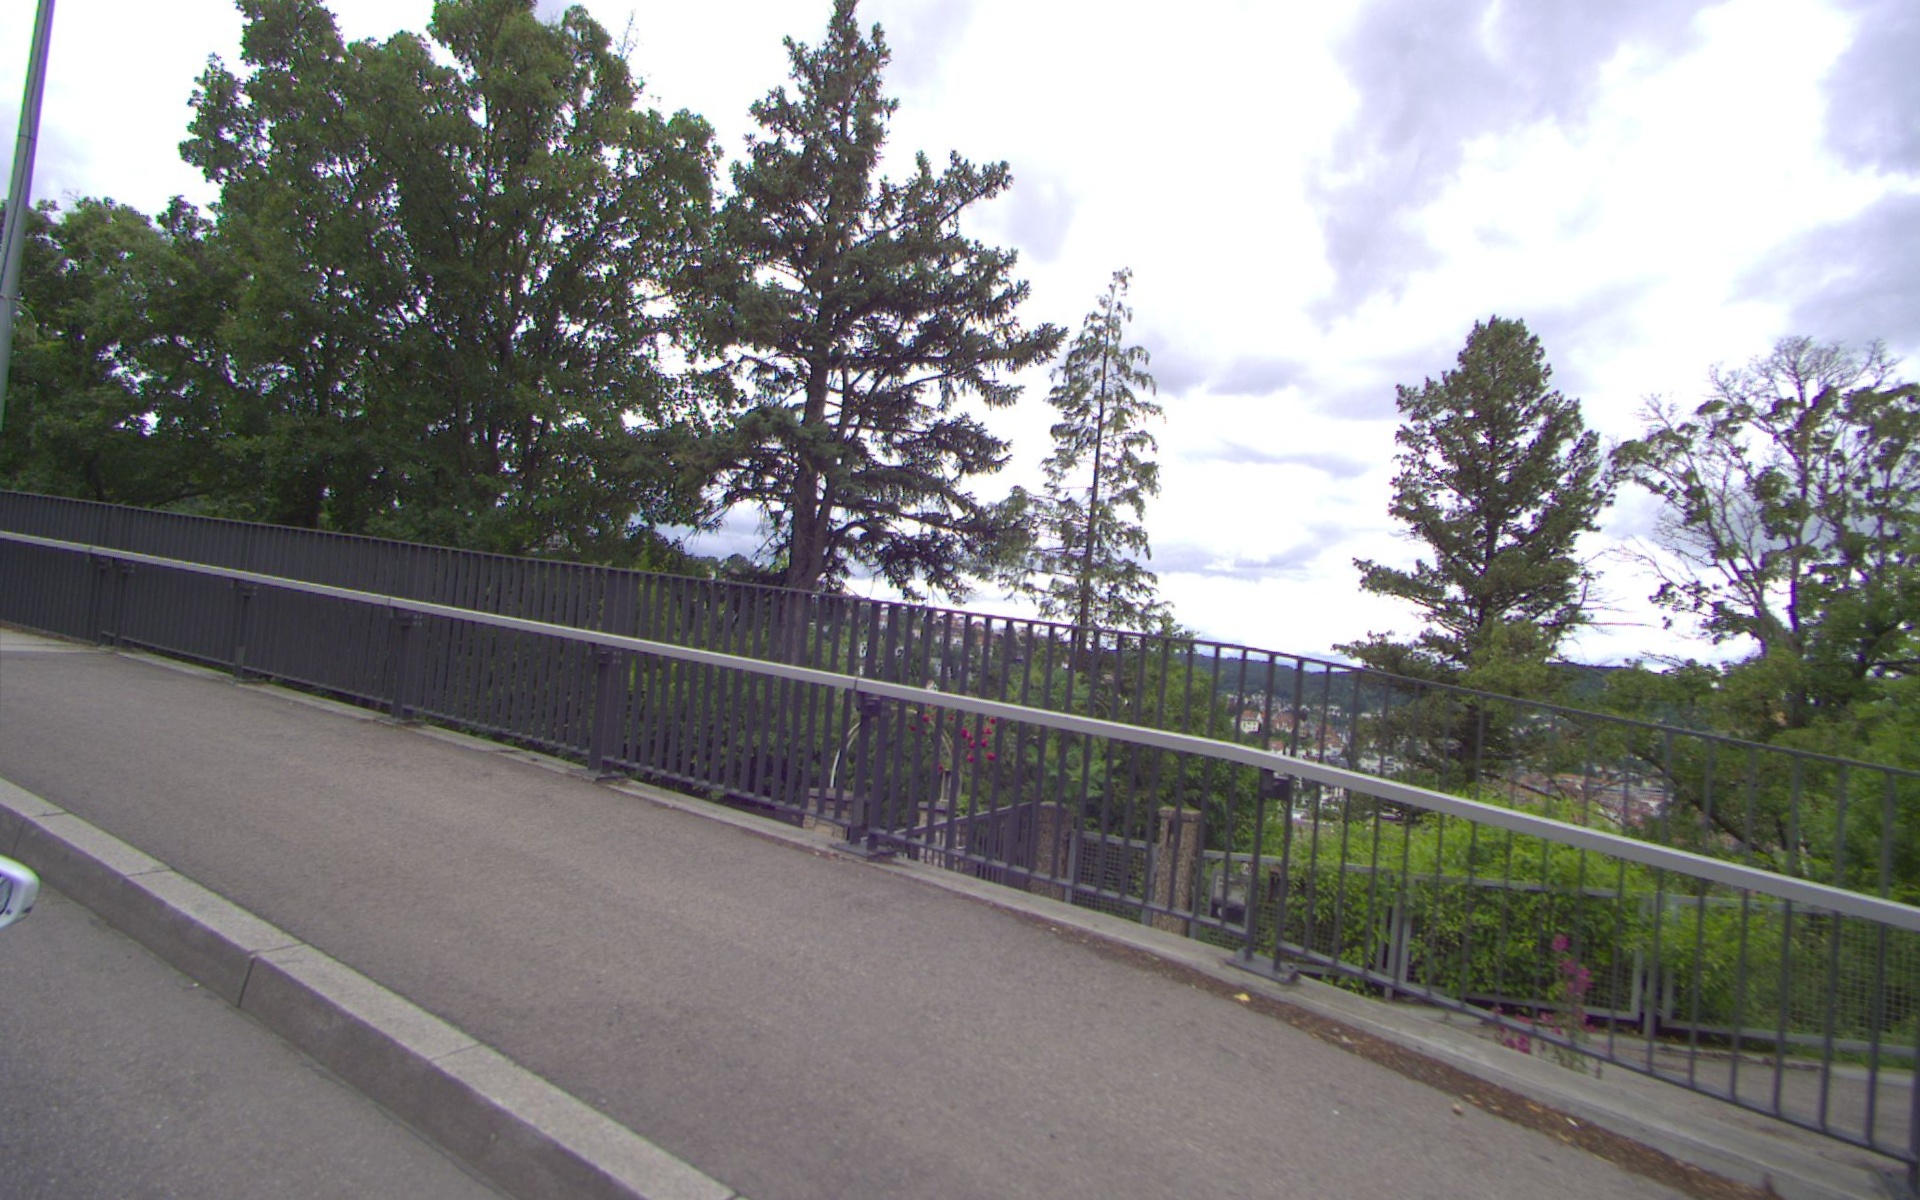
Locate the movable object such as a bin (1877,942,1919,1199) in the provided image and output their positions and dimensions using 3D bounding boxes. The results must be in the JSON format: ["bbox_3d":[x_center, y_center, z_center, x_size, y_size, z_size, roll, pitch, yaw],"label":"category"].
[{"bbox_3d":[2.865,1.466,2.646,0.523,0.891,0.521,8,-1,33],"label":"movable object such as a bin"}]
